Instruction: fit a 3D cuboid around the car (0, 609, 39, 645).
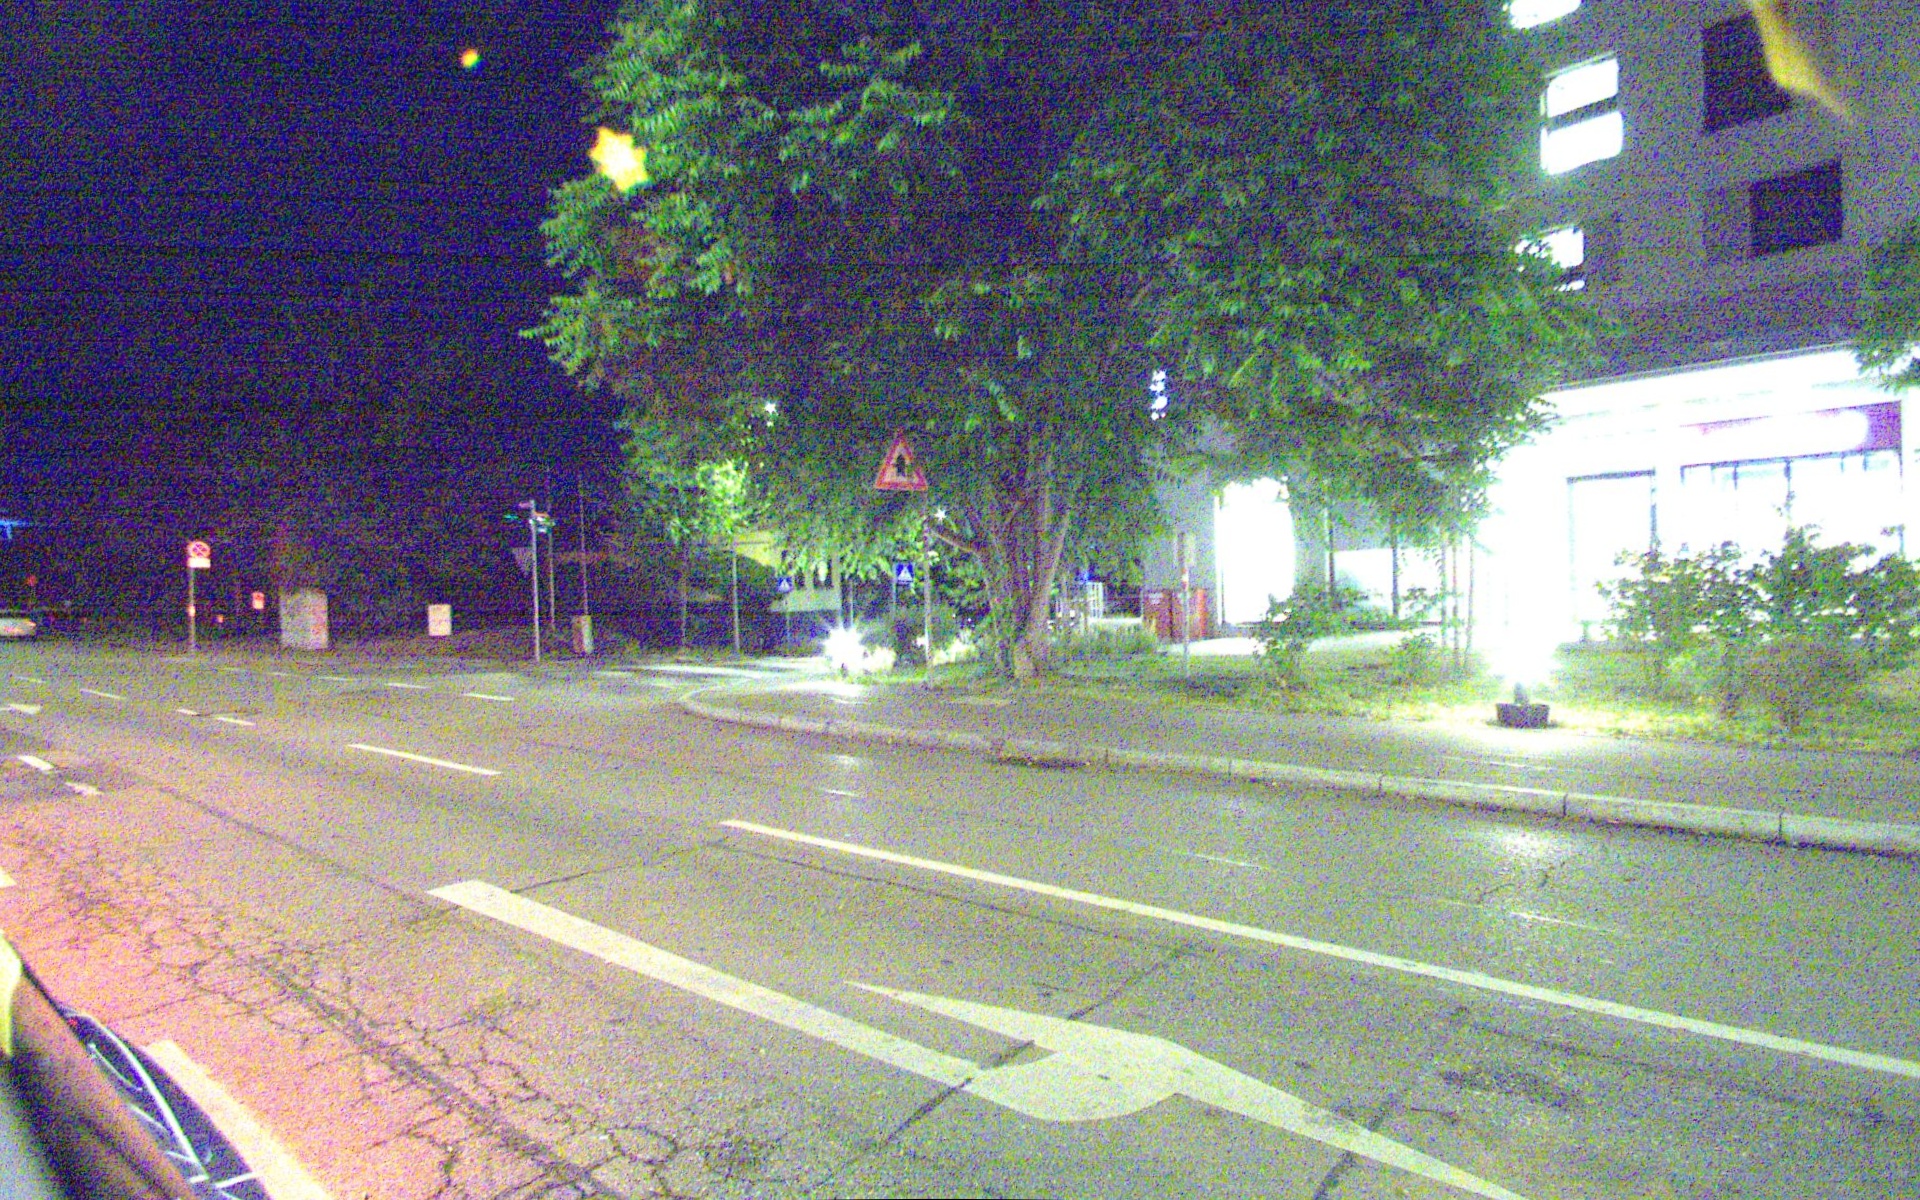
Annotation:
[{"bbox_3d":[-43.253,1.214,45.808,3.998,1.464,1.887,1,2,41],"label":"car"}]
